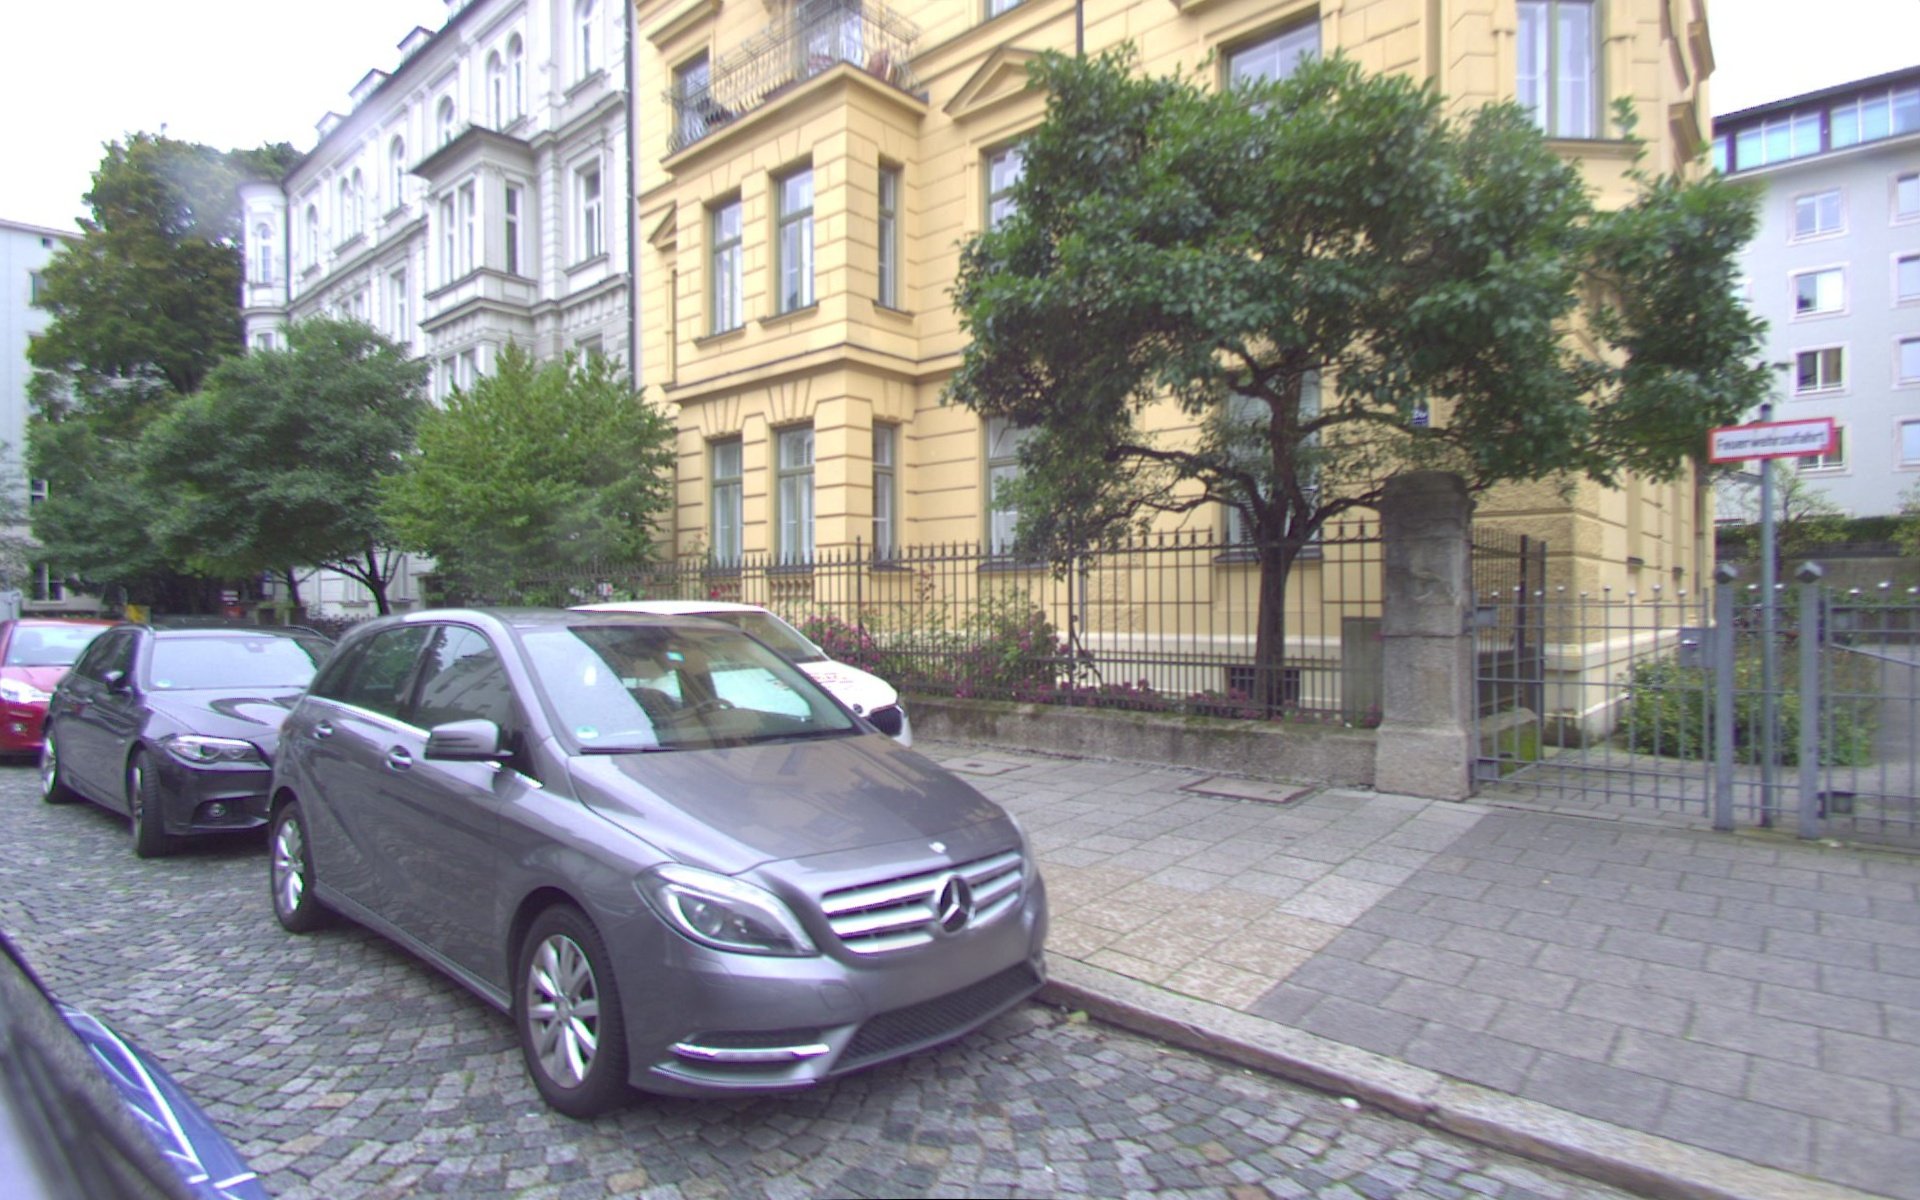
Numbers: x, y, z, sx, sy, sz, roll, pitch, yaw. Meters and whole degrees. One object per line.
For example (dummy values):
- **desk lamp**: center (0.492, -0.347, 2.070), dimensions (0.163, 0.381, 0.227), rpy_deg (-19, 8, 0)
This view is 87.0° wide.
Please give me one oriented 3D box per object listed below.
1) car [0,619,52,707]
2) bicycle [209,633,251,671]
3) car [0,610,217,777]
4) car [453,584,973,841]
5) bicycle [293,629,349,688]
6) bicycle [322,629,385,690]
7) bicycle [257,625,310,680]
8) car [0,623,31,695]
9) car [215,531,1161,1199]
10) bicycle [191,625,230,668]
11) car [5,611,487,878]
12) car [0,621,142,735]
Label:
- **car**: center (-18.319, 1.112, 18.786), dimensions (4.510, 1.510, 1.790), rpy_deg (-1, -2, 43)
- **bicycle**: center (-18.533, 1.300, 25.688), dimensions (1.789, 0.879, 0.434), rpy_deg (0, 3, 42)
- **car**: center (-10.316, 0.941, 11.713), dimensions (4.189, 1.598, 1.822), rpy_deg (-1, -2, 40)
- **car**: center (-2.154, 0.670, 8.025), dimensions (4.387, 1.477, 1.822), rpy_deg (-1, 0, 41)
- **bicycle**: center (-13.077, 1.166, 20.685), dimensions (1.789, 1.107, 0.429), rpy_deg (0, 3, 42)
- **bicycle**: center (-11.542, 1.112, 19.235), dimensions (1.759, 1.059, 0.468), rpy_deg (0, 3, 42)
- **bicycle**: center (-15.124, 1.144, 22.606), dimensions (1.789, 1.132, 0.504), rpy_deg (0, 3, 42)
- **car**: center (-22.018, 1.258, 22.308), dimensions (4.130, 1.510, 1.722), rpy_deg (-1, -2, 40)
- **car**: center (-1.435, 0.683, 4.294), dimensions (4.187, 1.598, 1.723), rpy_deg (-1, -2, 38)
- **bicycle**: center (-19.891, 1.230, 26.849), dimensions (1.694, 1.059, 0.458), rpy_deg (0, 3, 42)
- **car**: center (-5.873, 0.856, 8.014), dimensions (5.129, 1.481, 1.851), rpy_deg (-1, -2, 40)
- **car**: center (-14.303, 1.103, 15.572), dimensions (4.639, 1.521, 1.799), rpy_deg (0, -3, 41)
